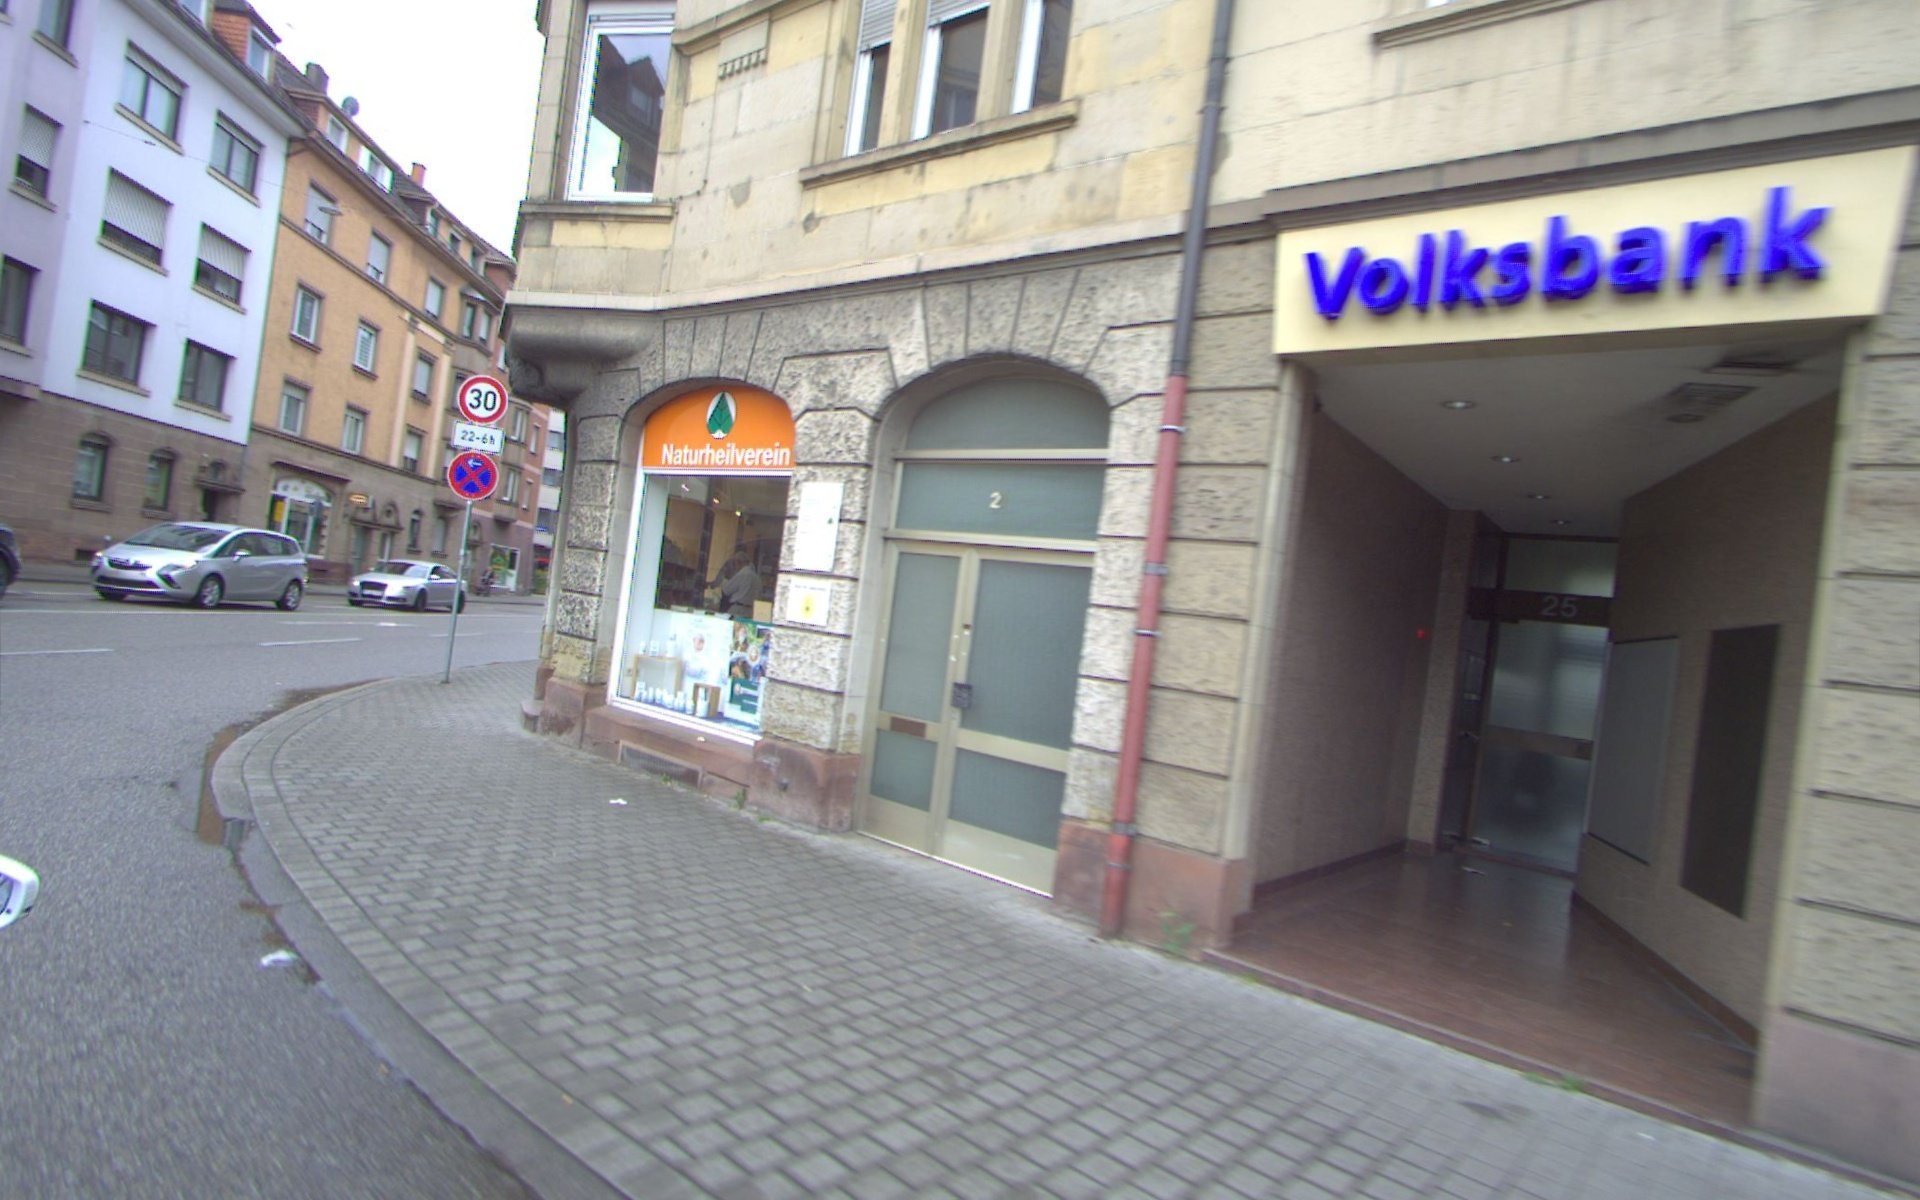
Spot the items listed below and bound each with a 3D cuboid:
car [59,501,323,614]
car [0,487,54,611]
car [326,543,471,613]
[{"bbox_3d":[-14.868,-0.712,19.852,1.915,1.704,4.411,7,-2,-5],"label":"car"},{"bbox_3d":[-13.979,-0.855,12.126,1.965,1.704,4.823,8,-2,-7],"label":"car"},{"bbox_3d":[-15.910,-0.551,28.787,1.916,1.591,4.233,8,-2,-6],"label":"car"}]
